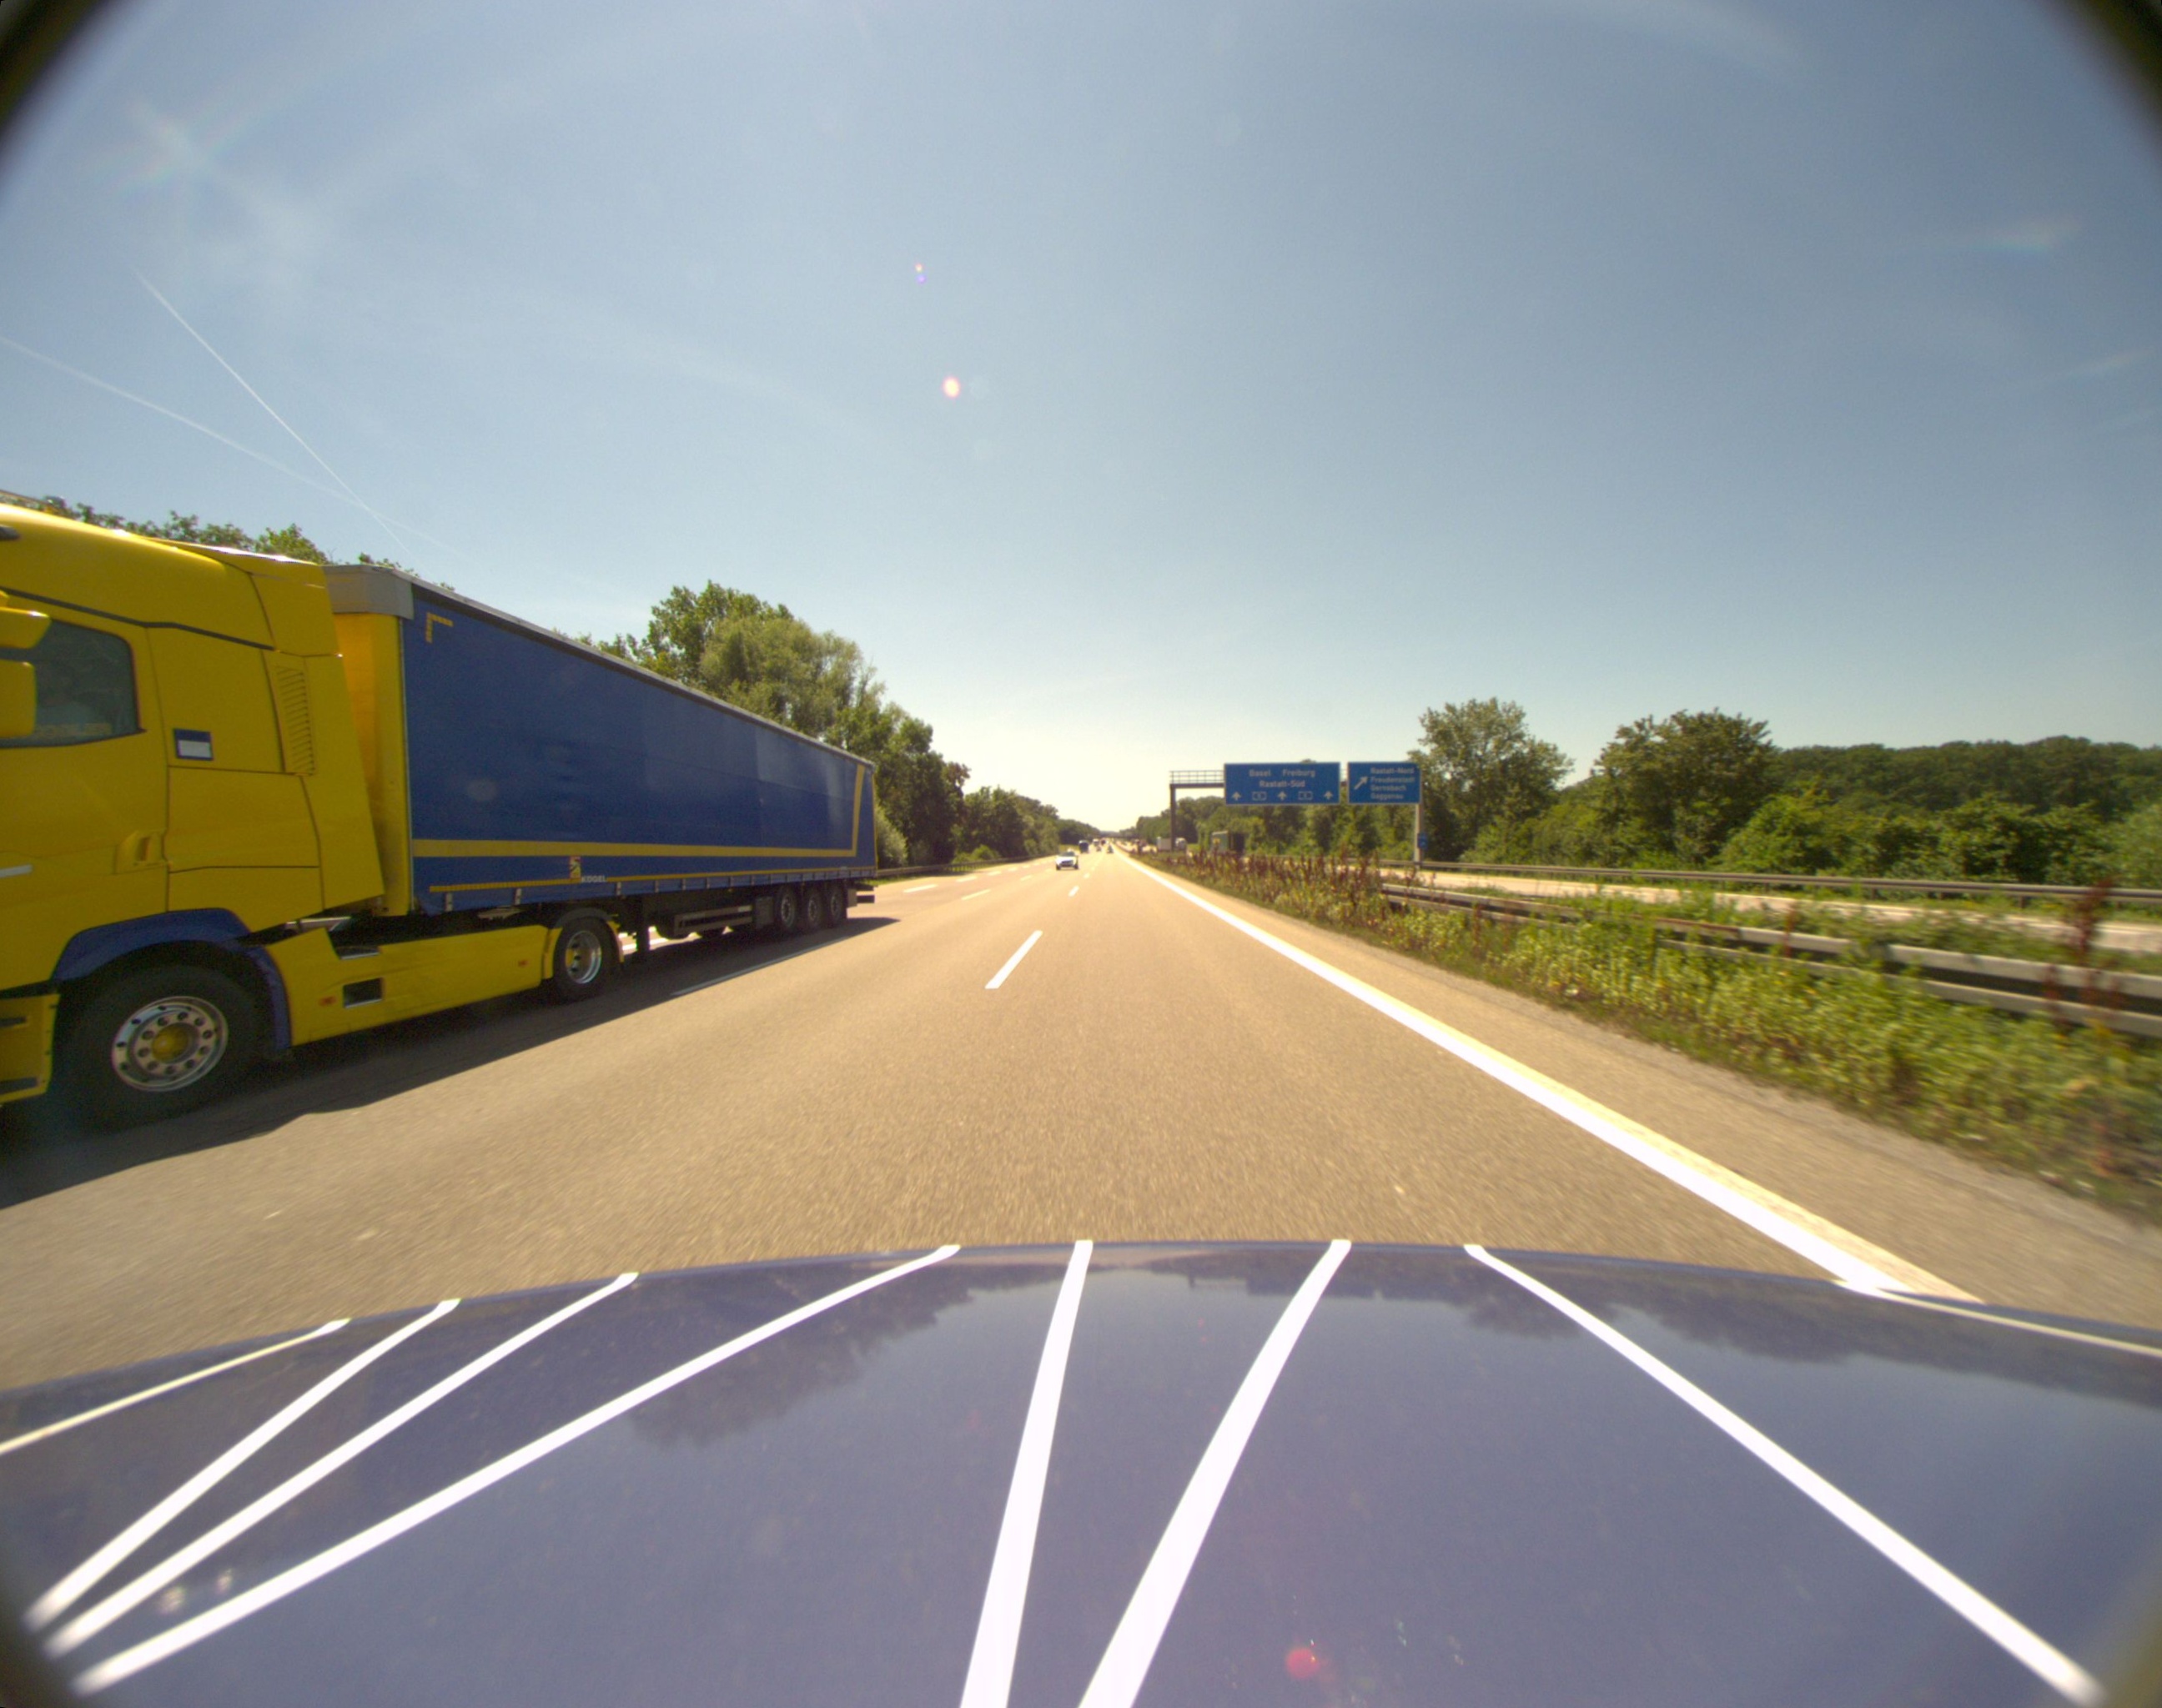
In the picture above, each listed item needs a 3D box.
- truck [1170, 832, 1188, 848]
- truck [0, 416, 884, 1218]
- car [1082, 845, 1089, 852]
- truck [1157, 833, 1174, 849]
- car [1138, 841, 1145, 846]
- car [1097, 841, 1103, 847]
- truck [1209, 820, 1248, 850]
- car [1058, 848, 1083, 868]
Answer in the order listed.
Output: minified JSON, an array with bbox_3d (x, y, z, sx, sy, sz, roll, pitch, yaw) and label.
[{"bbox_3d":[25.702,-3.718,199.758,2.962,3.995,15.820,0,1,2],"label":"truck"},{"bbox_3d":[-6.922,-0.350,11.829,2.852,4.233,16.789,-1,1,2],"label":"truck"},{"bbox_3d":[1.430,-1.570,220.680,1.998,2.002,4.000,0,1,1],"label":"car"},{"bbox_3d":[21.903,-3.360,198.305,2.962,4.221,17.180,0,1,2],"label":"truck"},{"bbox_3d":[19.916,-3.402,251.188,1.998,1.580,4.818,-1,1,3],"label":"car"},{"bbox_3d":[6.416,-3.423,250.653,1.840,2.002,4.000,-1,1,3],"label":"car"},{"bbox_3d":[22.513,-2.844,117.032,2.962,4.317,18.241,0,1,2],"label":"truck"},{"bbox_3d":[-0.857,0.287,64.569,1.845,1.565,4.000,-2,1,3],"label":"car"}]
